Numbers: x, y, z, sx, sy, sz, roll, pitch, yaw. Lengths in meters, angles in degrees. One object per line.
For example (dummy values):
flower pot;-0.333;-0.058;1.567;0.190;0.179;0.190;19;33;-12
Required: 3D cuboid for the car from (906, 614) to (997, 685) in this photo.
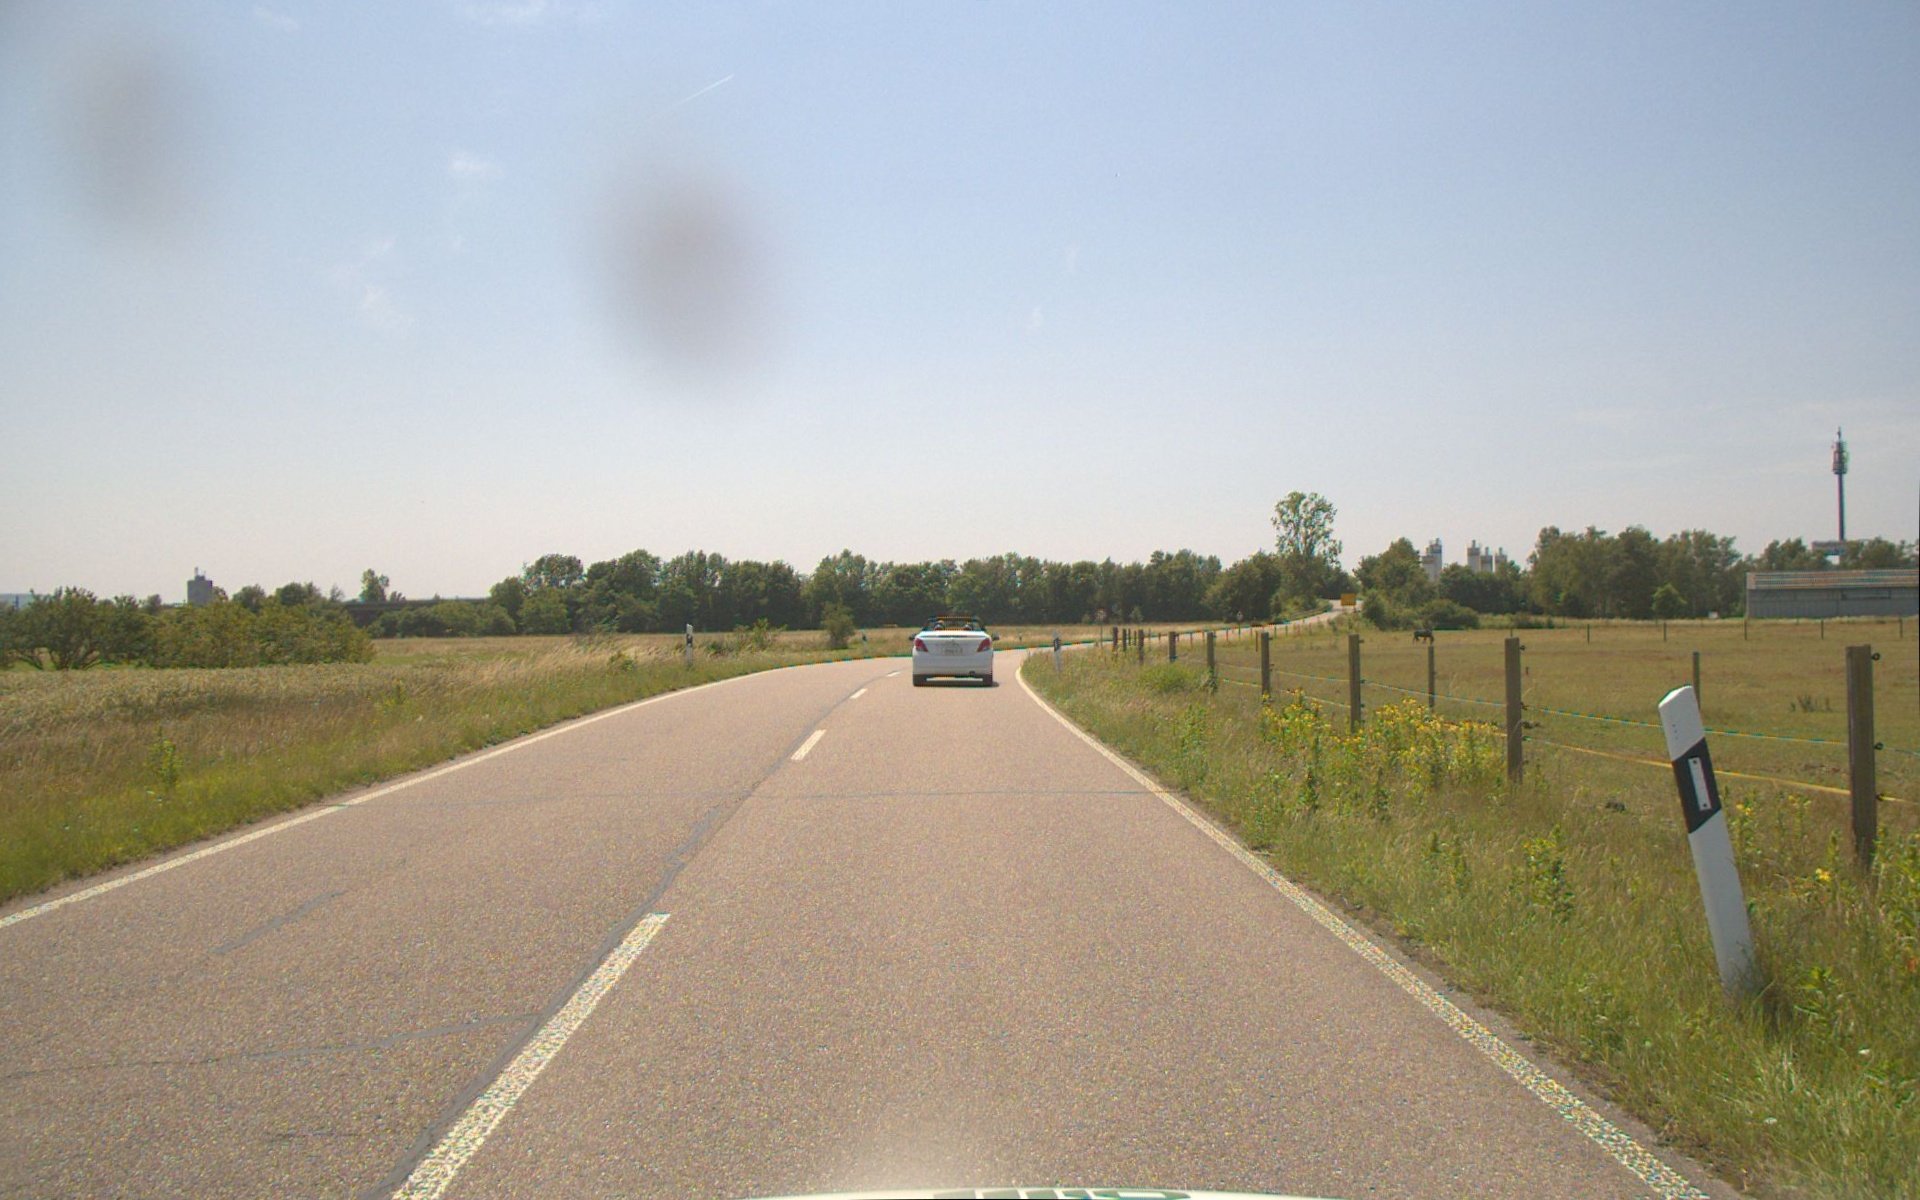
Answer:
car;-0.172;1.009;35.085;1.813;1.403;4.000;0;-1;0
